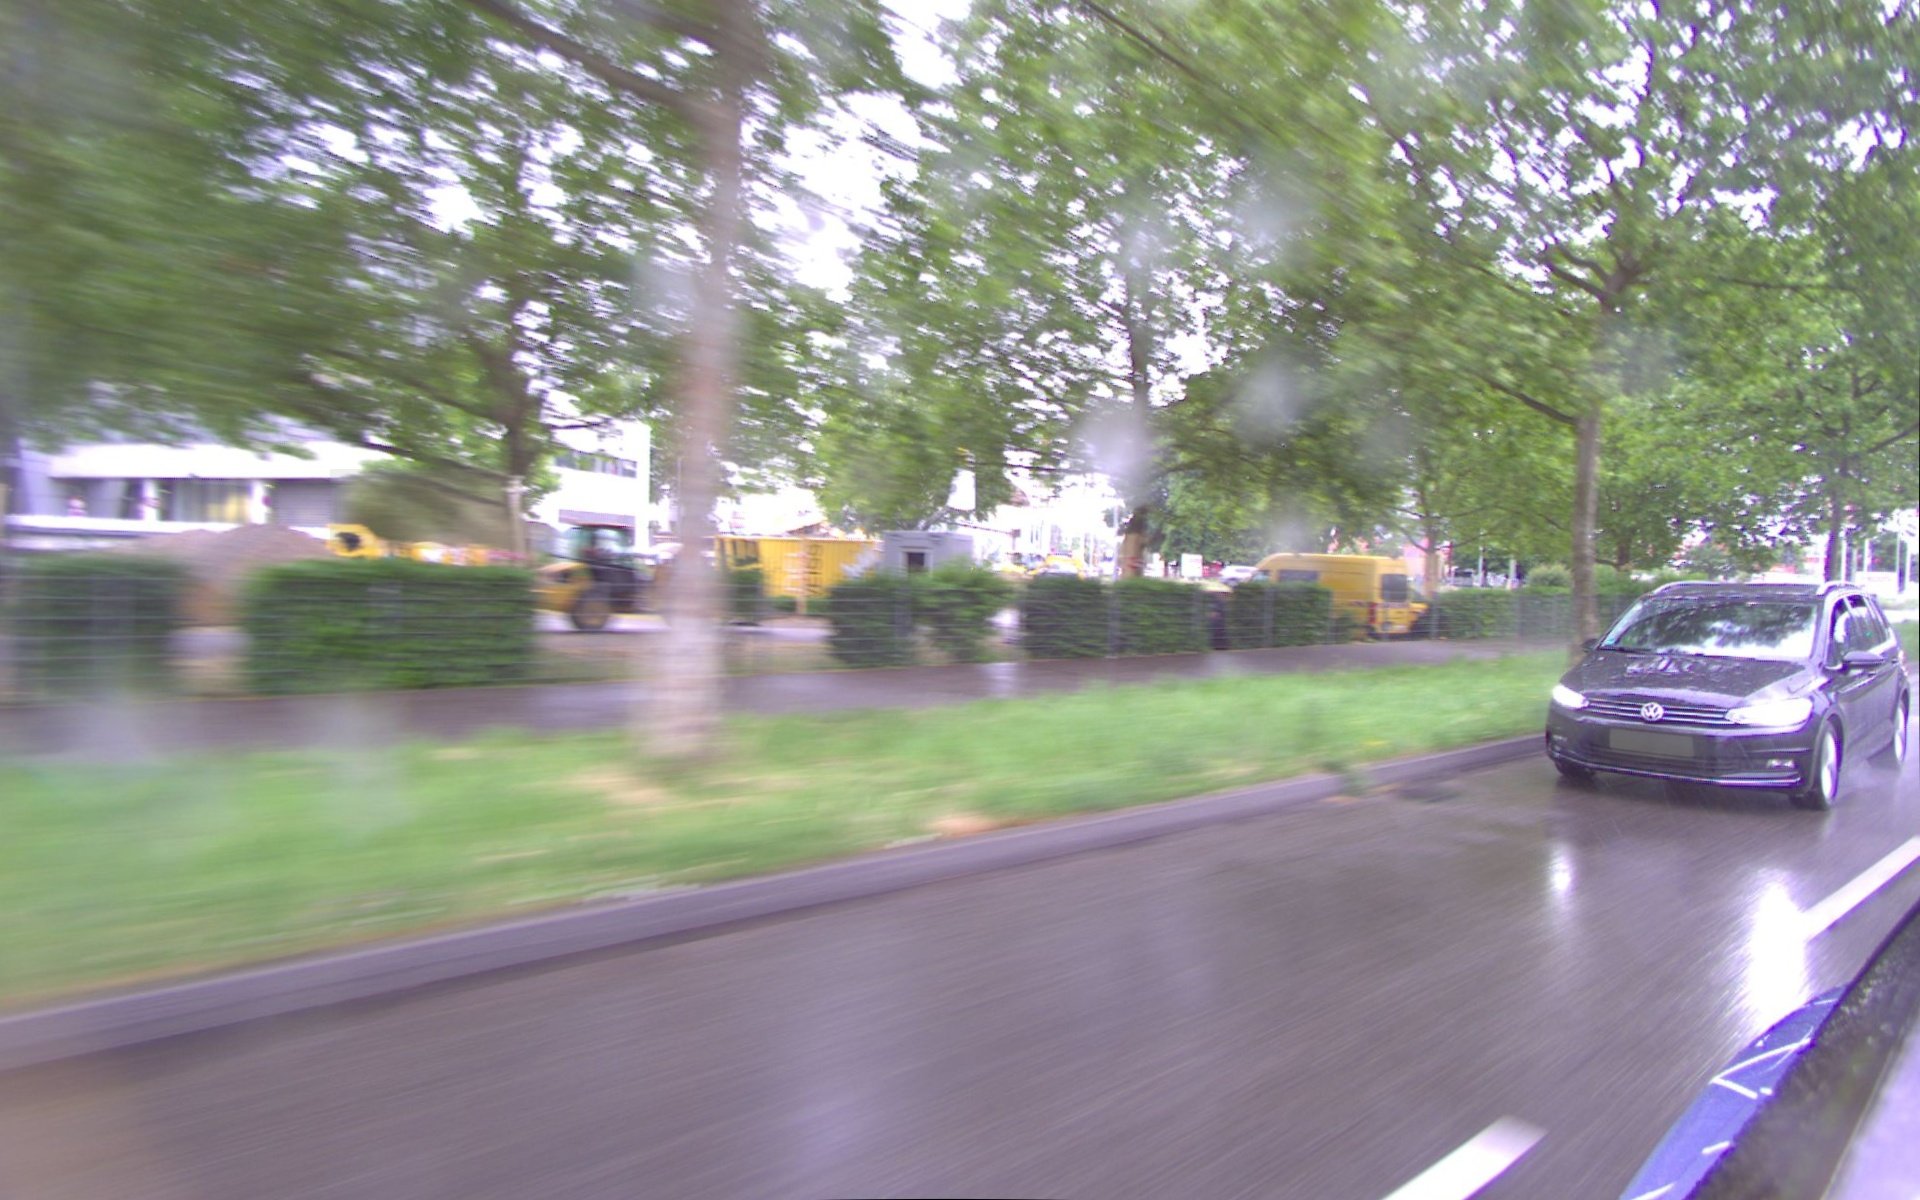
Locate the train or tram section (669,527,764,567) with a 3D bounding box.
[{"bbox_3d":[-22.424,-4.859,93.331,8.406,3.563,2.390,0,1,15],"label":"train or tram section"}]

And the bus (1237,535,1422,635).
[{"bbox_3d":[10.678,-0.477,29.578,1.962,2.680,4.808,0,1,-36],"label":"bus"}]

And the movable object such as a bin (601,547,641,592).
[{"bbox_3d":[-18.092,-1.633,54.041,1.433,2.384,1.399,2,2,29],"label":"movable object such as a bin"}]

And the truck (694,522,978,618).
[{"bbox_3d":[-4.300,-1.013,35.144,9.372,3.069,3.066,0,2,17],"label":"truck"}]

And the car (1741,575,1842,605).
[{"bbox_3d":[52.070,-0.652,63.458,4.396,1.693,1.860,2,2,15],"label":"car"}]

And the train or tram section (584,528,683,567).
[{"bbox_3d":[-30.842,-4.901,95.568,8.980,3.563,2.390,0,1,15],"label":"train or tram section"}]

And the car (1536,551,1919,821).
[{"bbox_3d":[6.745,0.522,8.575,4.115,1.747,1.861,-1,1,-39],"label":"car"}]

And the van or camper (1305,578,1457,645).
[{"bbox_3d":[12.954,0.302,31.314,1.771,1.930,3.994,0,1,-41],"label":"van or camper"}]

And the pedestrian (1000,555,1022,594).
[{"bbox_3d":[2.856,-1.440,56.602,0.931,2.136,0.899,2,2,20],"label":"pedestrian"}]

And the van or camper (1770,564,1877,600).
[{"bbox_3d":[55.948,-1.192,65.693,4.837,2.113,1.860,2,2,15],"label":"van or camper"}]

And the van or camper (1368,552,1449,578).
[{"bbox_3d":[55.416,-4.322,125.221,8.858,3.196,2.972,0,2,18],"label":"van or camper"}]

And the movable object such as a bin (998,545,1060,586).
[{"bbox_3d":[4.191,-2.093,61.623,3.254,2.384,1.993,2,2,30],"label":"movable object such as a bin"}]

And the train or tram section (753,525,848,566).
[{"bbox_3d":[-14.379,-4.861,91.202,8.249,3.563,2.390,0,1,15],"label":"train or tram section"}]

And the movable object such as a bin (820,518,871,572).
[{"bbox_3d":[-8.010,-3.821,71.094,3.255,3.670,3.616,1,2,-3],"label":"movable object such as a bin"}]

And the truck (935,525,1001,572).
[{"bbox_3d":[0.757,-3.858,77.583,2.462,3.386,9.422,0,2,17],"label":"truck"}]
